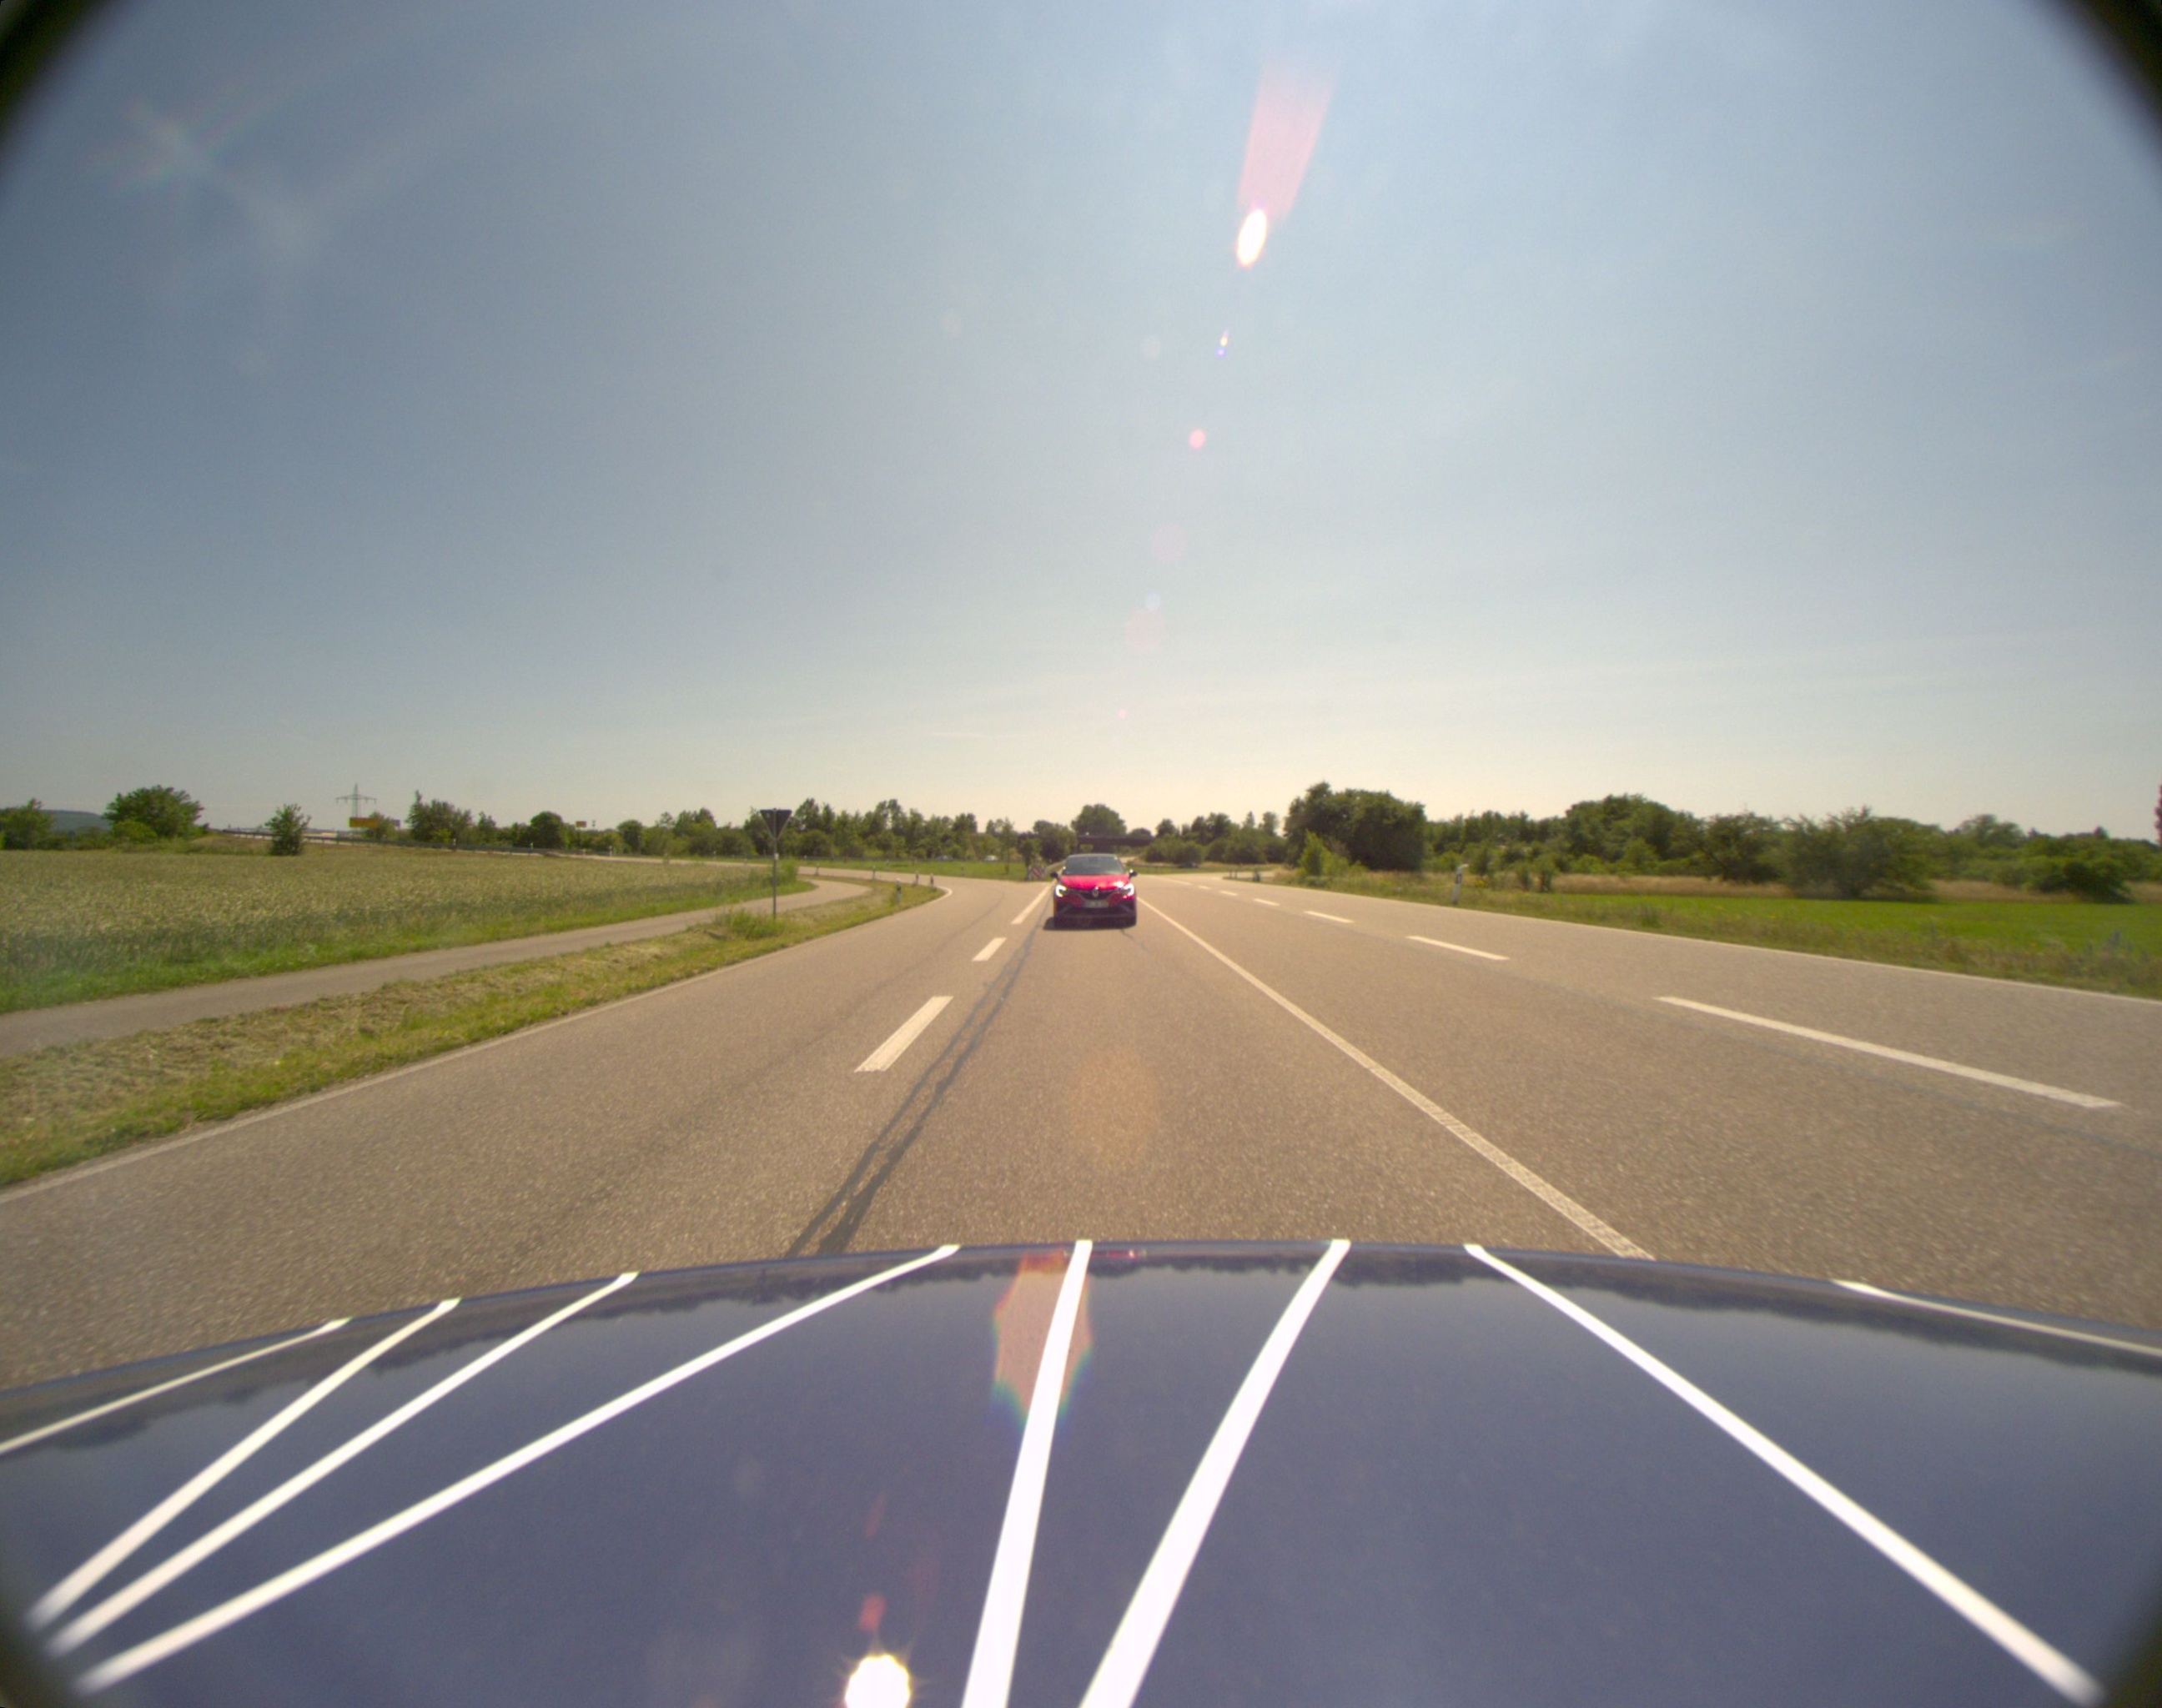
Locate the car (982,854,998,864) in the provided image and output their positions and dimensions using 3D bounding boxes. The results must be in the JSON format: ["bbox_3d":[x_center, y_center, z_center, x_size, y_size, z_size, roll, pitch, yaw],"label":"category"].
[{"bbox_3d":[-16.493,0.828,137.560,1.998,1.674,4.001,-1,1,6],"label":"car"}]

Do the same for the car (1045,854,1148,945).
[{"bbox_3d":[0.315,0.815,16.006,1.837,1.587,4.722,-1,0,1],"label":"car"}]

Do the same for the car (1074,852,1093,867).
[{"bbox_3d":[0.316,0.606,83.012,1.983,1.587,5.401,-1,0,0],"label":"car"}]
